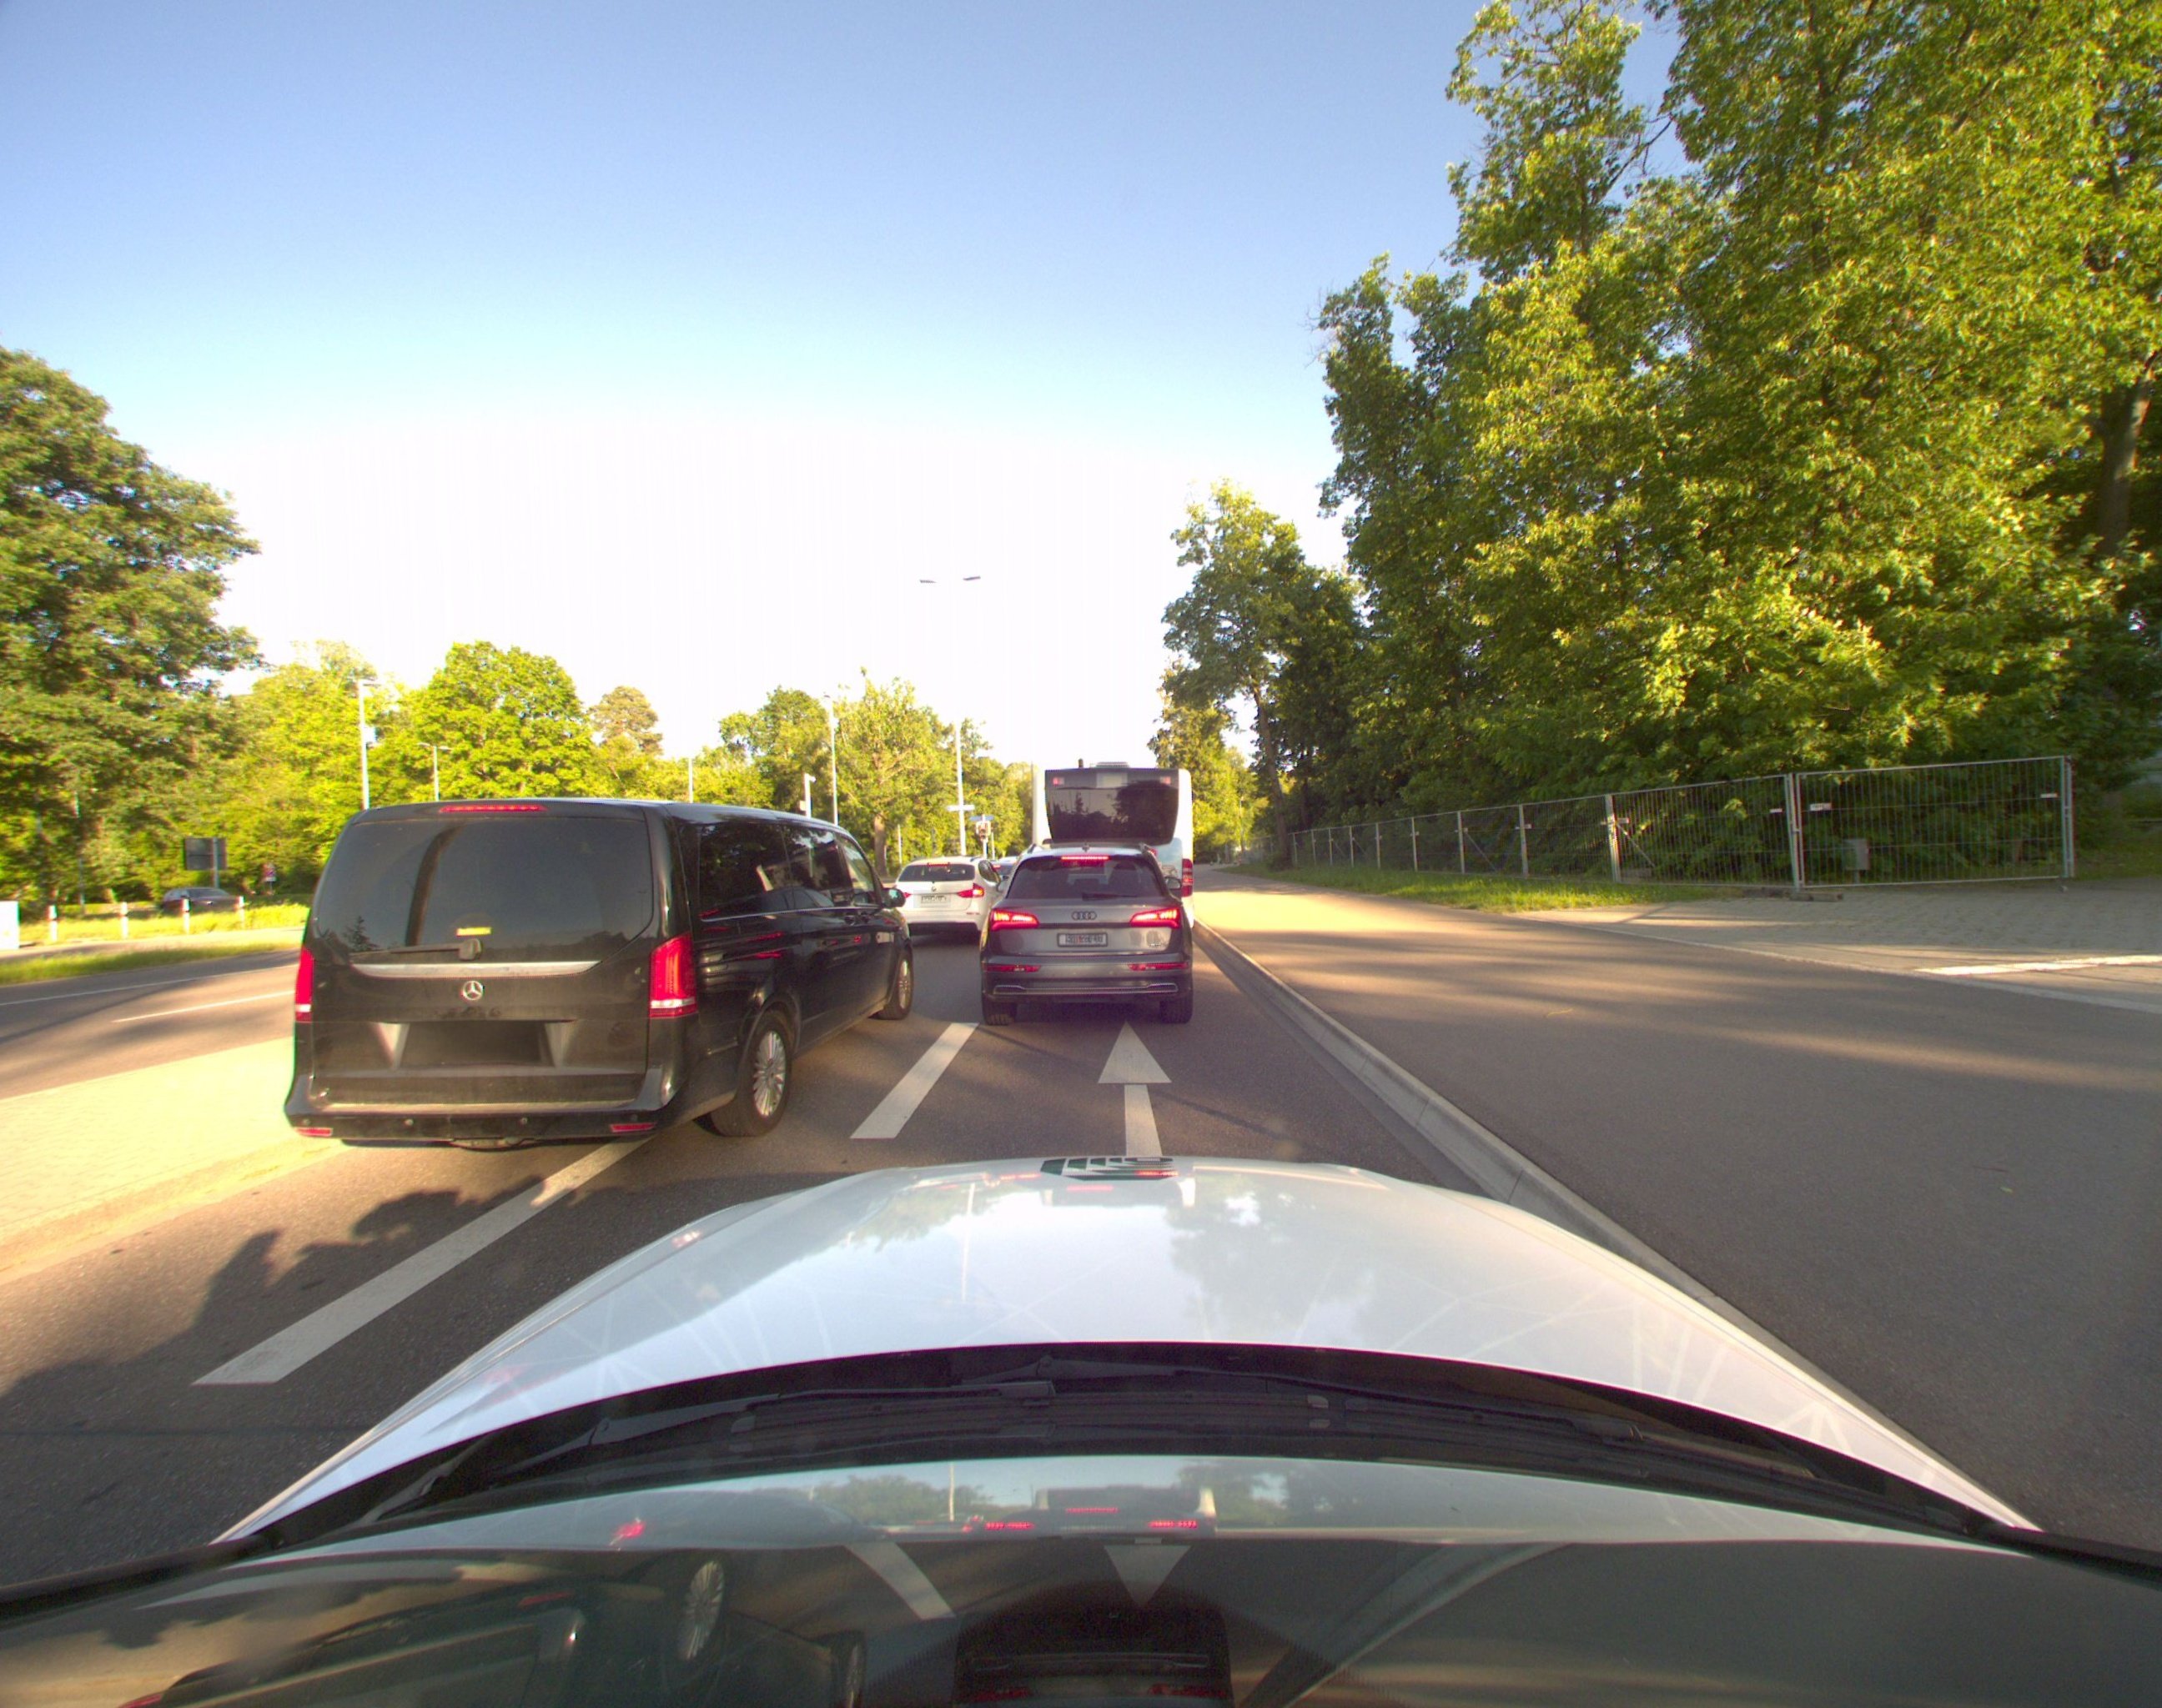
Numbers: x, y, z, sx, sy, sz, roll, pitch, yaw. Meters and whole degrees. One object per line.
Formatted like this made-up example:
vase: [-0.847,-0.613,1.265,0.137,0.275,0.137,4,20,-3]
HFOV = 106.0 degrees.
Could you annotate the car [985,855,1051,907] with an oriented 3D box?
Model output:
car: [-2.065,0.867,27.778,1.801,1.572,4.002,0,1,2]

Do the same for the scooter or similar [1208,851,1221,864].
scooter or similar: [12.736,0.335,77.704,1.175,1.174,0.661,0,0,13]

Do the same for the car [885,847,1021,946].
car: [-2.228,0.749,15.356,1.712,1.581,4.435,0,-2,2]

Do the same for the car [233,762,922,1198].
car: [-2.633,0.530,5.926,1.900,1.856,4.874,0,0,1]

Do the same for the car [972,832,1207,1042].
car: [0.131,0.641,8.476,1.861,1.663,4.002,0,0,2]

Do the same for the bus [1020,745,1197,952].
bus: [0.578,-0.112,15.378,2.667,3.142,5.887,0,0,3]

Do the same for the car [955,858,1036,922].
car: [-2.139,0.875,21.481,1.780,1.444,4.275,0,1,-2]

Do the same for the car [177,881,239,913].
car: [-48.500,2.352,45.239,3.948,1.618,2.013,-1,-1,38]
